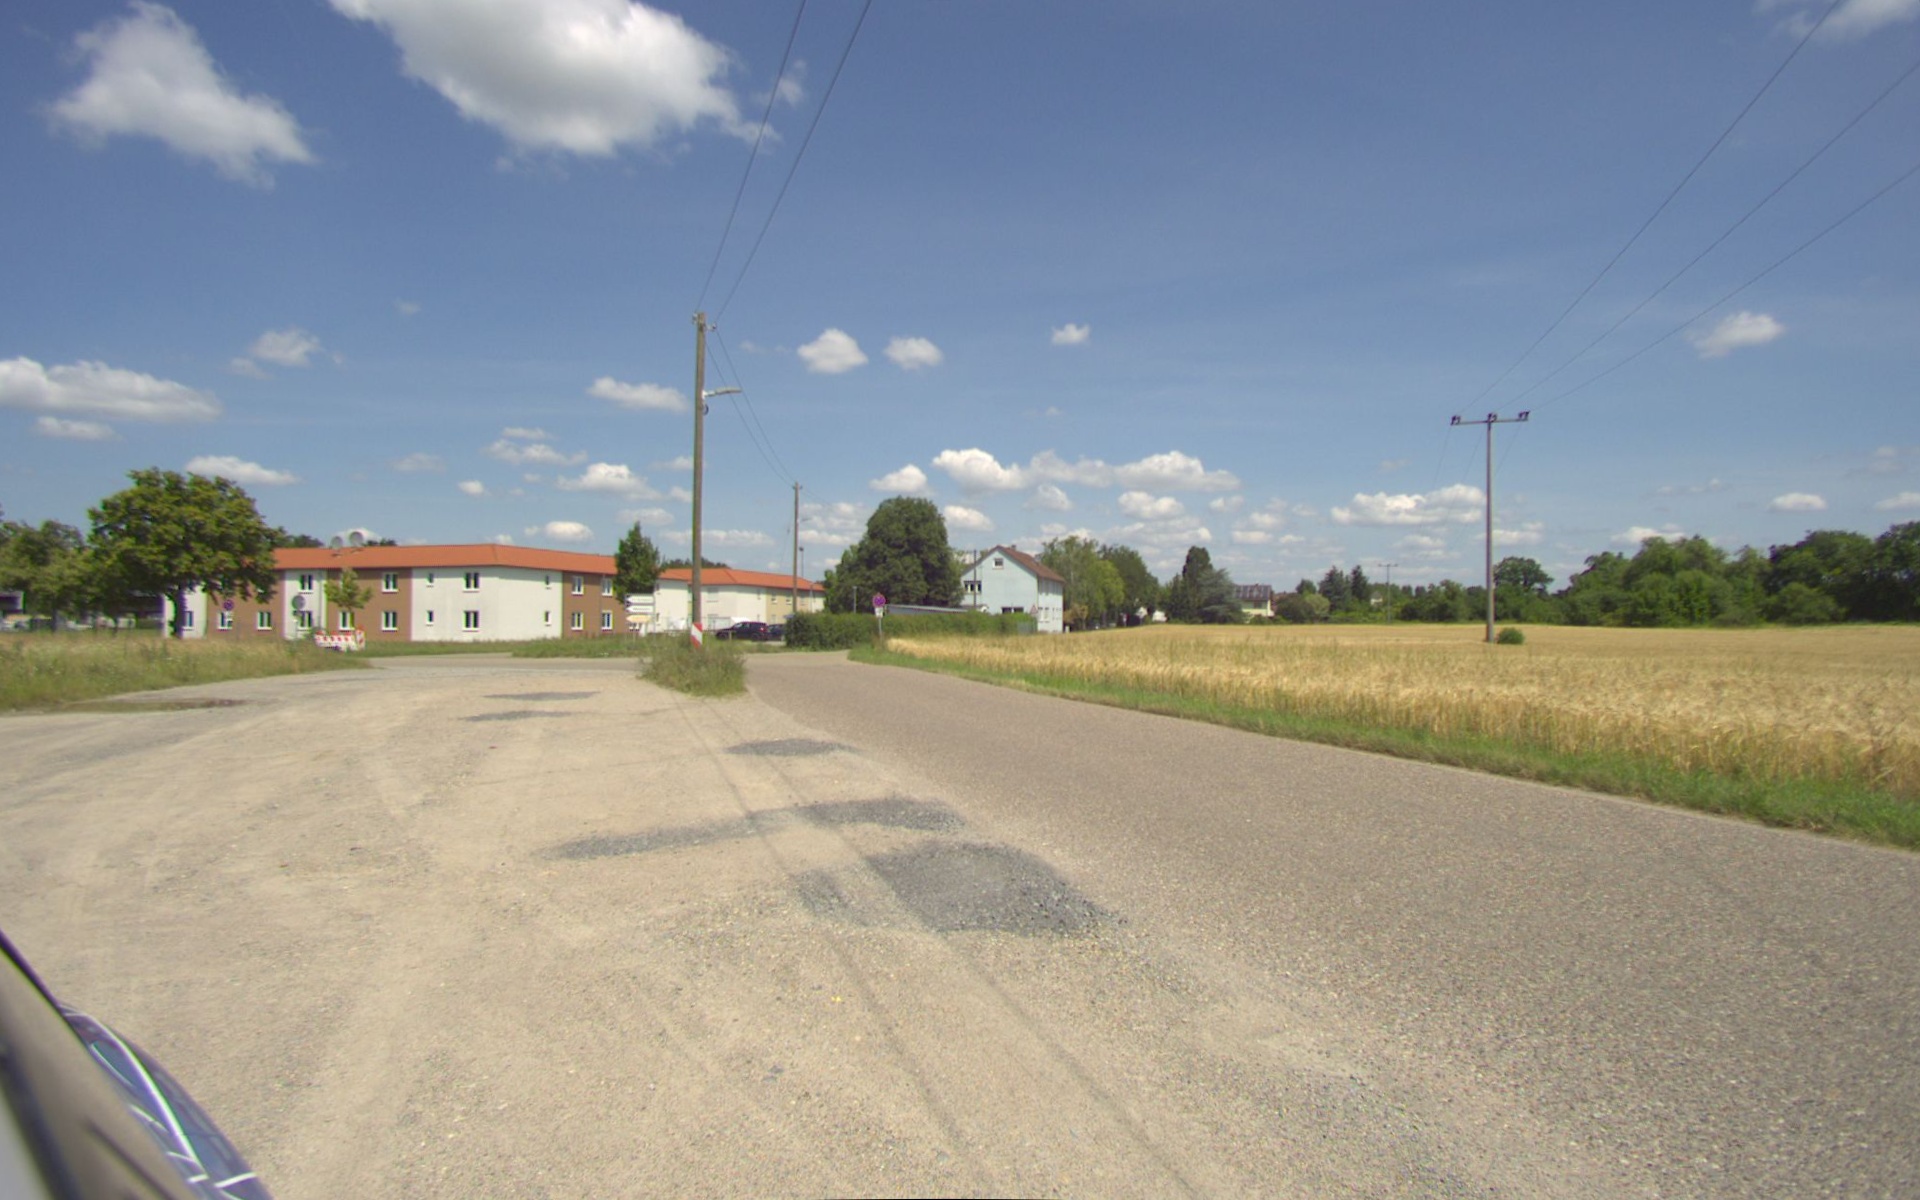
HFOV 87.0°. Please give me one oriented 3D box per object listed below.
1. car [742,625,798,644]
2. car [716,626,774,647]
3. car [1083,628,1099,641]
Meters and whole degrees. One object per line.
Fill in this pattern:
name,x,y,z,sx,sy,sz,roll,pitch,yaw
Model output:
car,-15.911,2.881,84.816,4.109,1.627,1.990,0,-2,15
car,-17.186,2.897,81.105,4.109,1.627,1.990,0,-2,15
car,17.925,4.732,138.390,1.732,1.692,4.237,-1,-1,13
